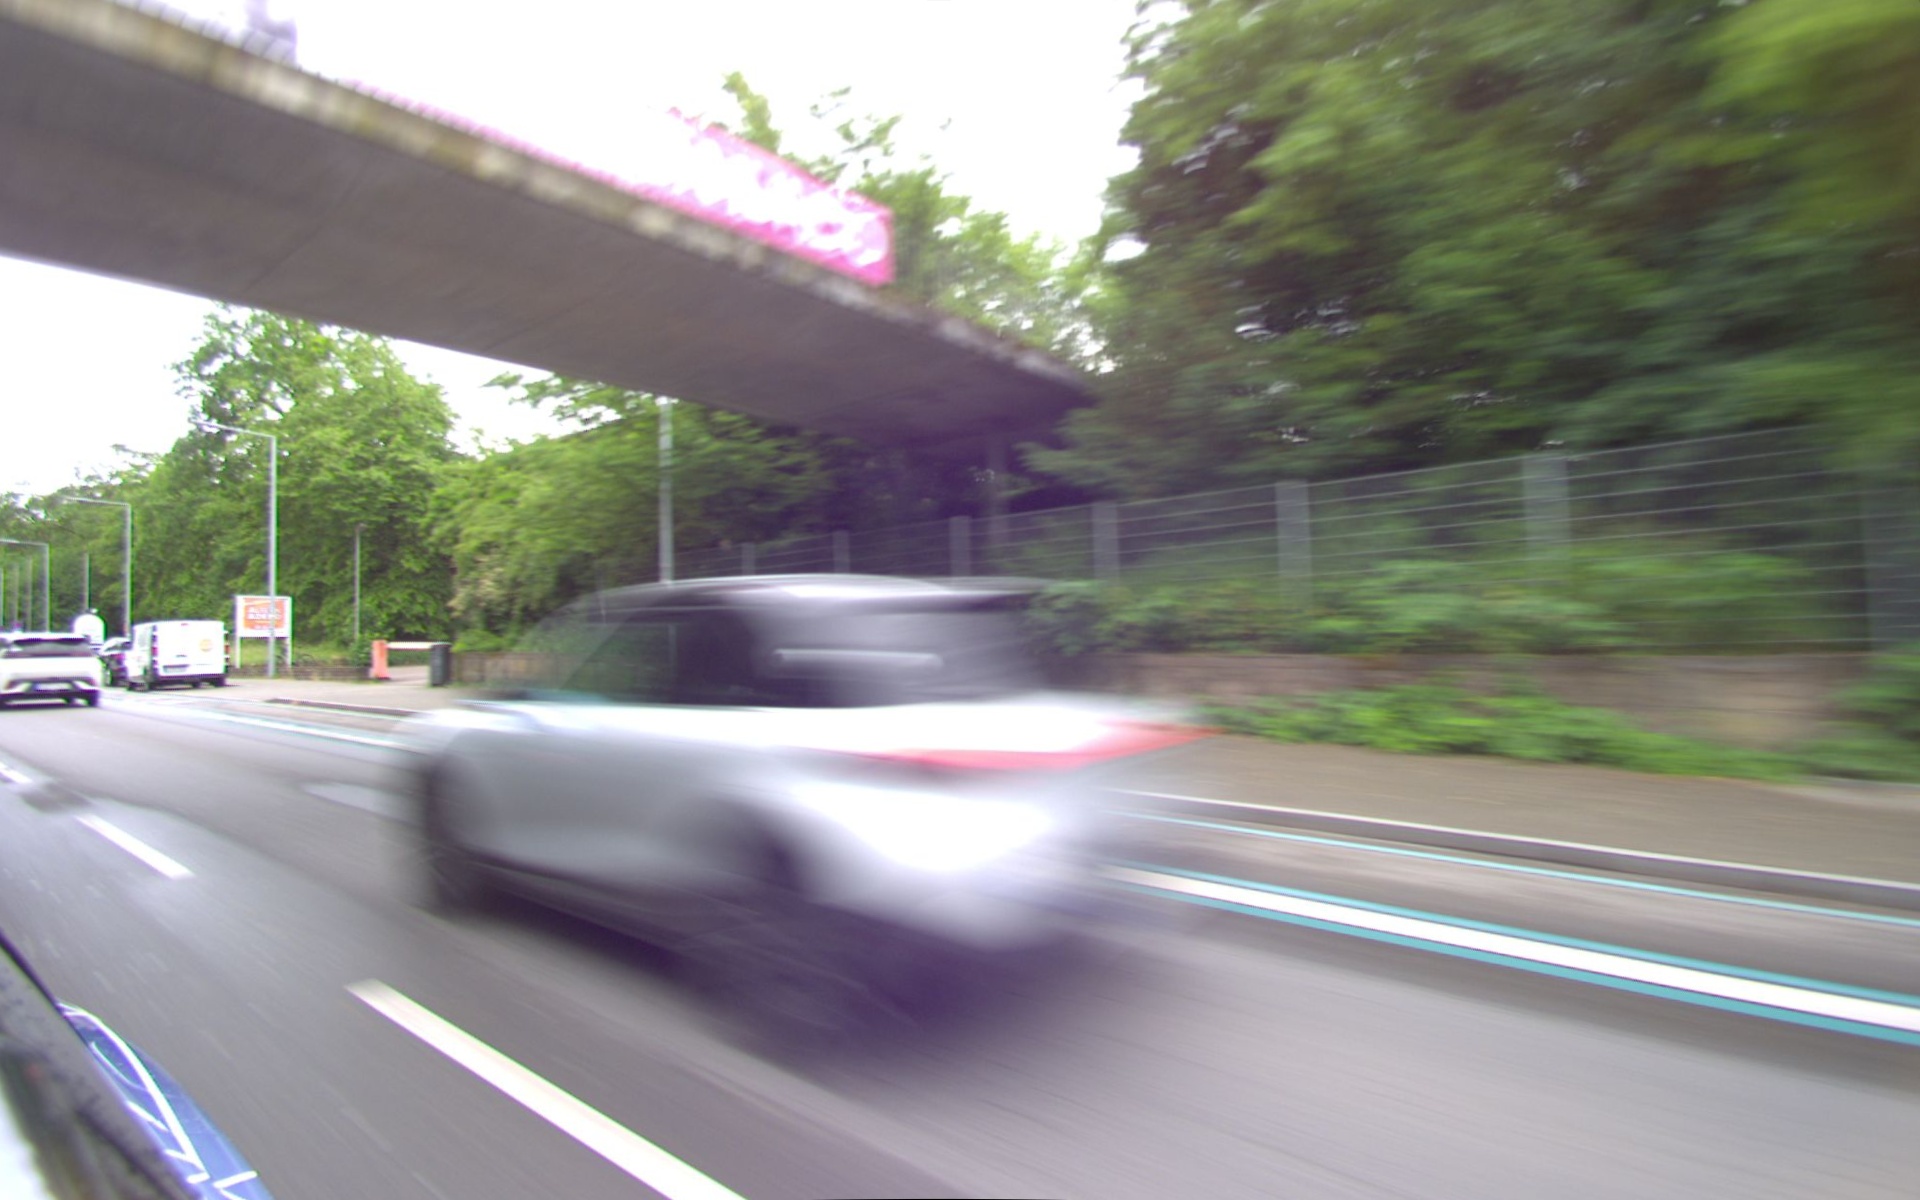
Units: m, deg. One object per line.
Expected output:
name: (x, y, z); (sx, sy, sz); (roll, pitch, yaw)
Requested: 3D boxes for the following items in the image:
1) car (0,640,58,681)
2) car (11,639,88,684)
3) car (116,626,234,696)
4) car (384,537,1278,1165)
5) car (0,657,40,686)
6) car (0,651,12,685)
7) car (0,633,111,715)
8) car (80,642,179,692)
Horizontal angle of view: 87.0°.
car: (-46.454, 3.043, 50.133); (5.200, 1.935, 1.857); (-4, -5, 40)
car: (-41.682, 2.835, 46.293); (4.840, 1.928, 1.973); (-4, -4, 40)
car: (-23.498, 1.828, 30.223); (5.226, 1.929, 1.957); (-4, -4, 43)
car: (-0.888, 0.671, 4.606); (4.100, 1.588, 1.777); (-1, -1, 41)
car: (-50.683, 3.840, 53.959); (4.606, 1.470, 1.667); (-4, -5, 39)
car: (-58.574, 4.114, 60.660); (4.730, 1.992, 1.854); (-4, -4, 39)
car: (-19.603, 1.509, 21.341); (3.867, 1.564, 1.952); (-2, -2, 40)
car: (-29.020, 2.342, 35.307); (4.658, 1.628, 1.805); (-4, -5, 40)
